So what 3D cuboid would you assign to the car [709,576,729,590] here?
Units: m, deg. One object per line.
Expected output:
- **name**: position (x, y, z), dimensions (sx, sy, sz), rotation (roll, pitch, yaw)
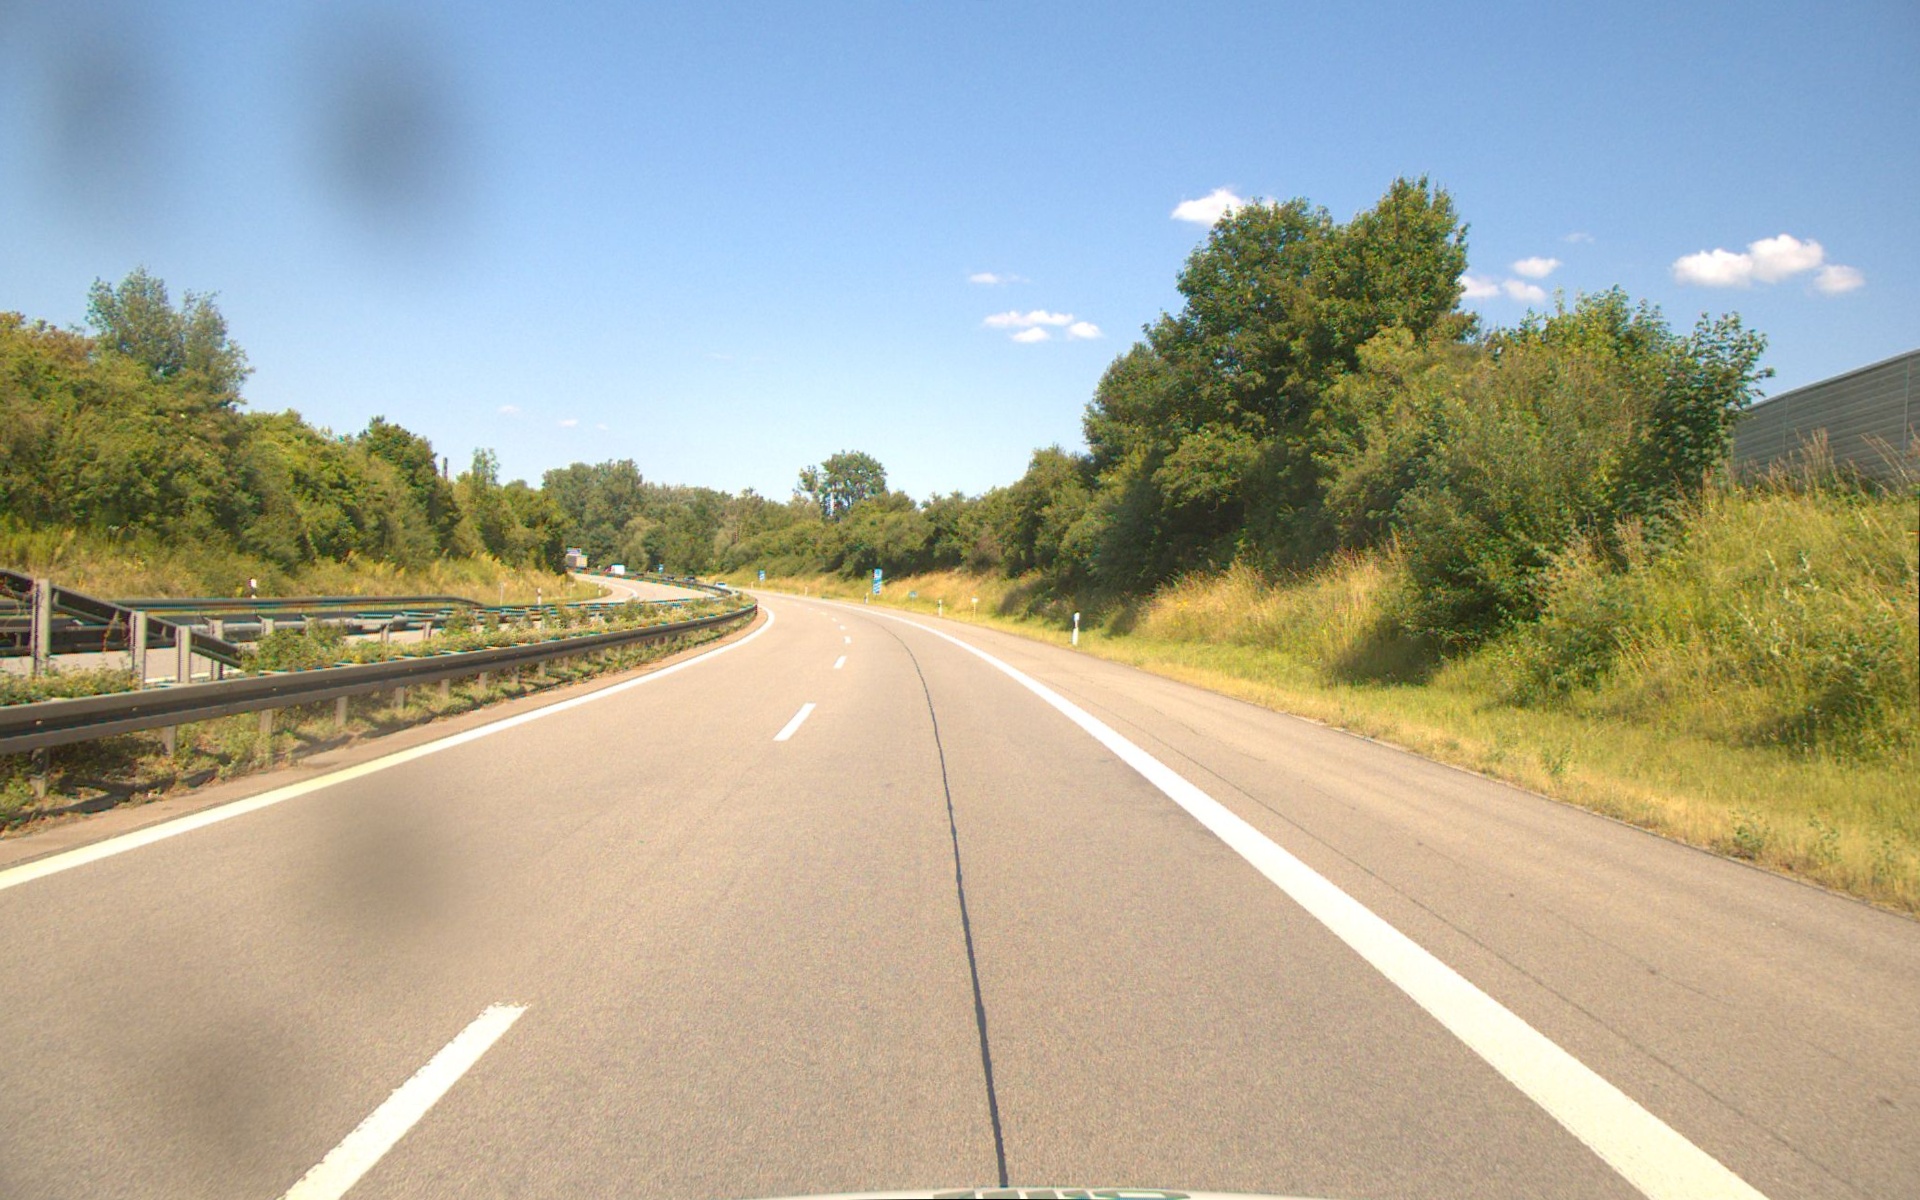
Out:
- **car**: position (-31.267, -2.217, 214.593), dimensions (2.028, 1.653, 3.983), rotation (1, -1, -16)
